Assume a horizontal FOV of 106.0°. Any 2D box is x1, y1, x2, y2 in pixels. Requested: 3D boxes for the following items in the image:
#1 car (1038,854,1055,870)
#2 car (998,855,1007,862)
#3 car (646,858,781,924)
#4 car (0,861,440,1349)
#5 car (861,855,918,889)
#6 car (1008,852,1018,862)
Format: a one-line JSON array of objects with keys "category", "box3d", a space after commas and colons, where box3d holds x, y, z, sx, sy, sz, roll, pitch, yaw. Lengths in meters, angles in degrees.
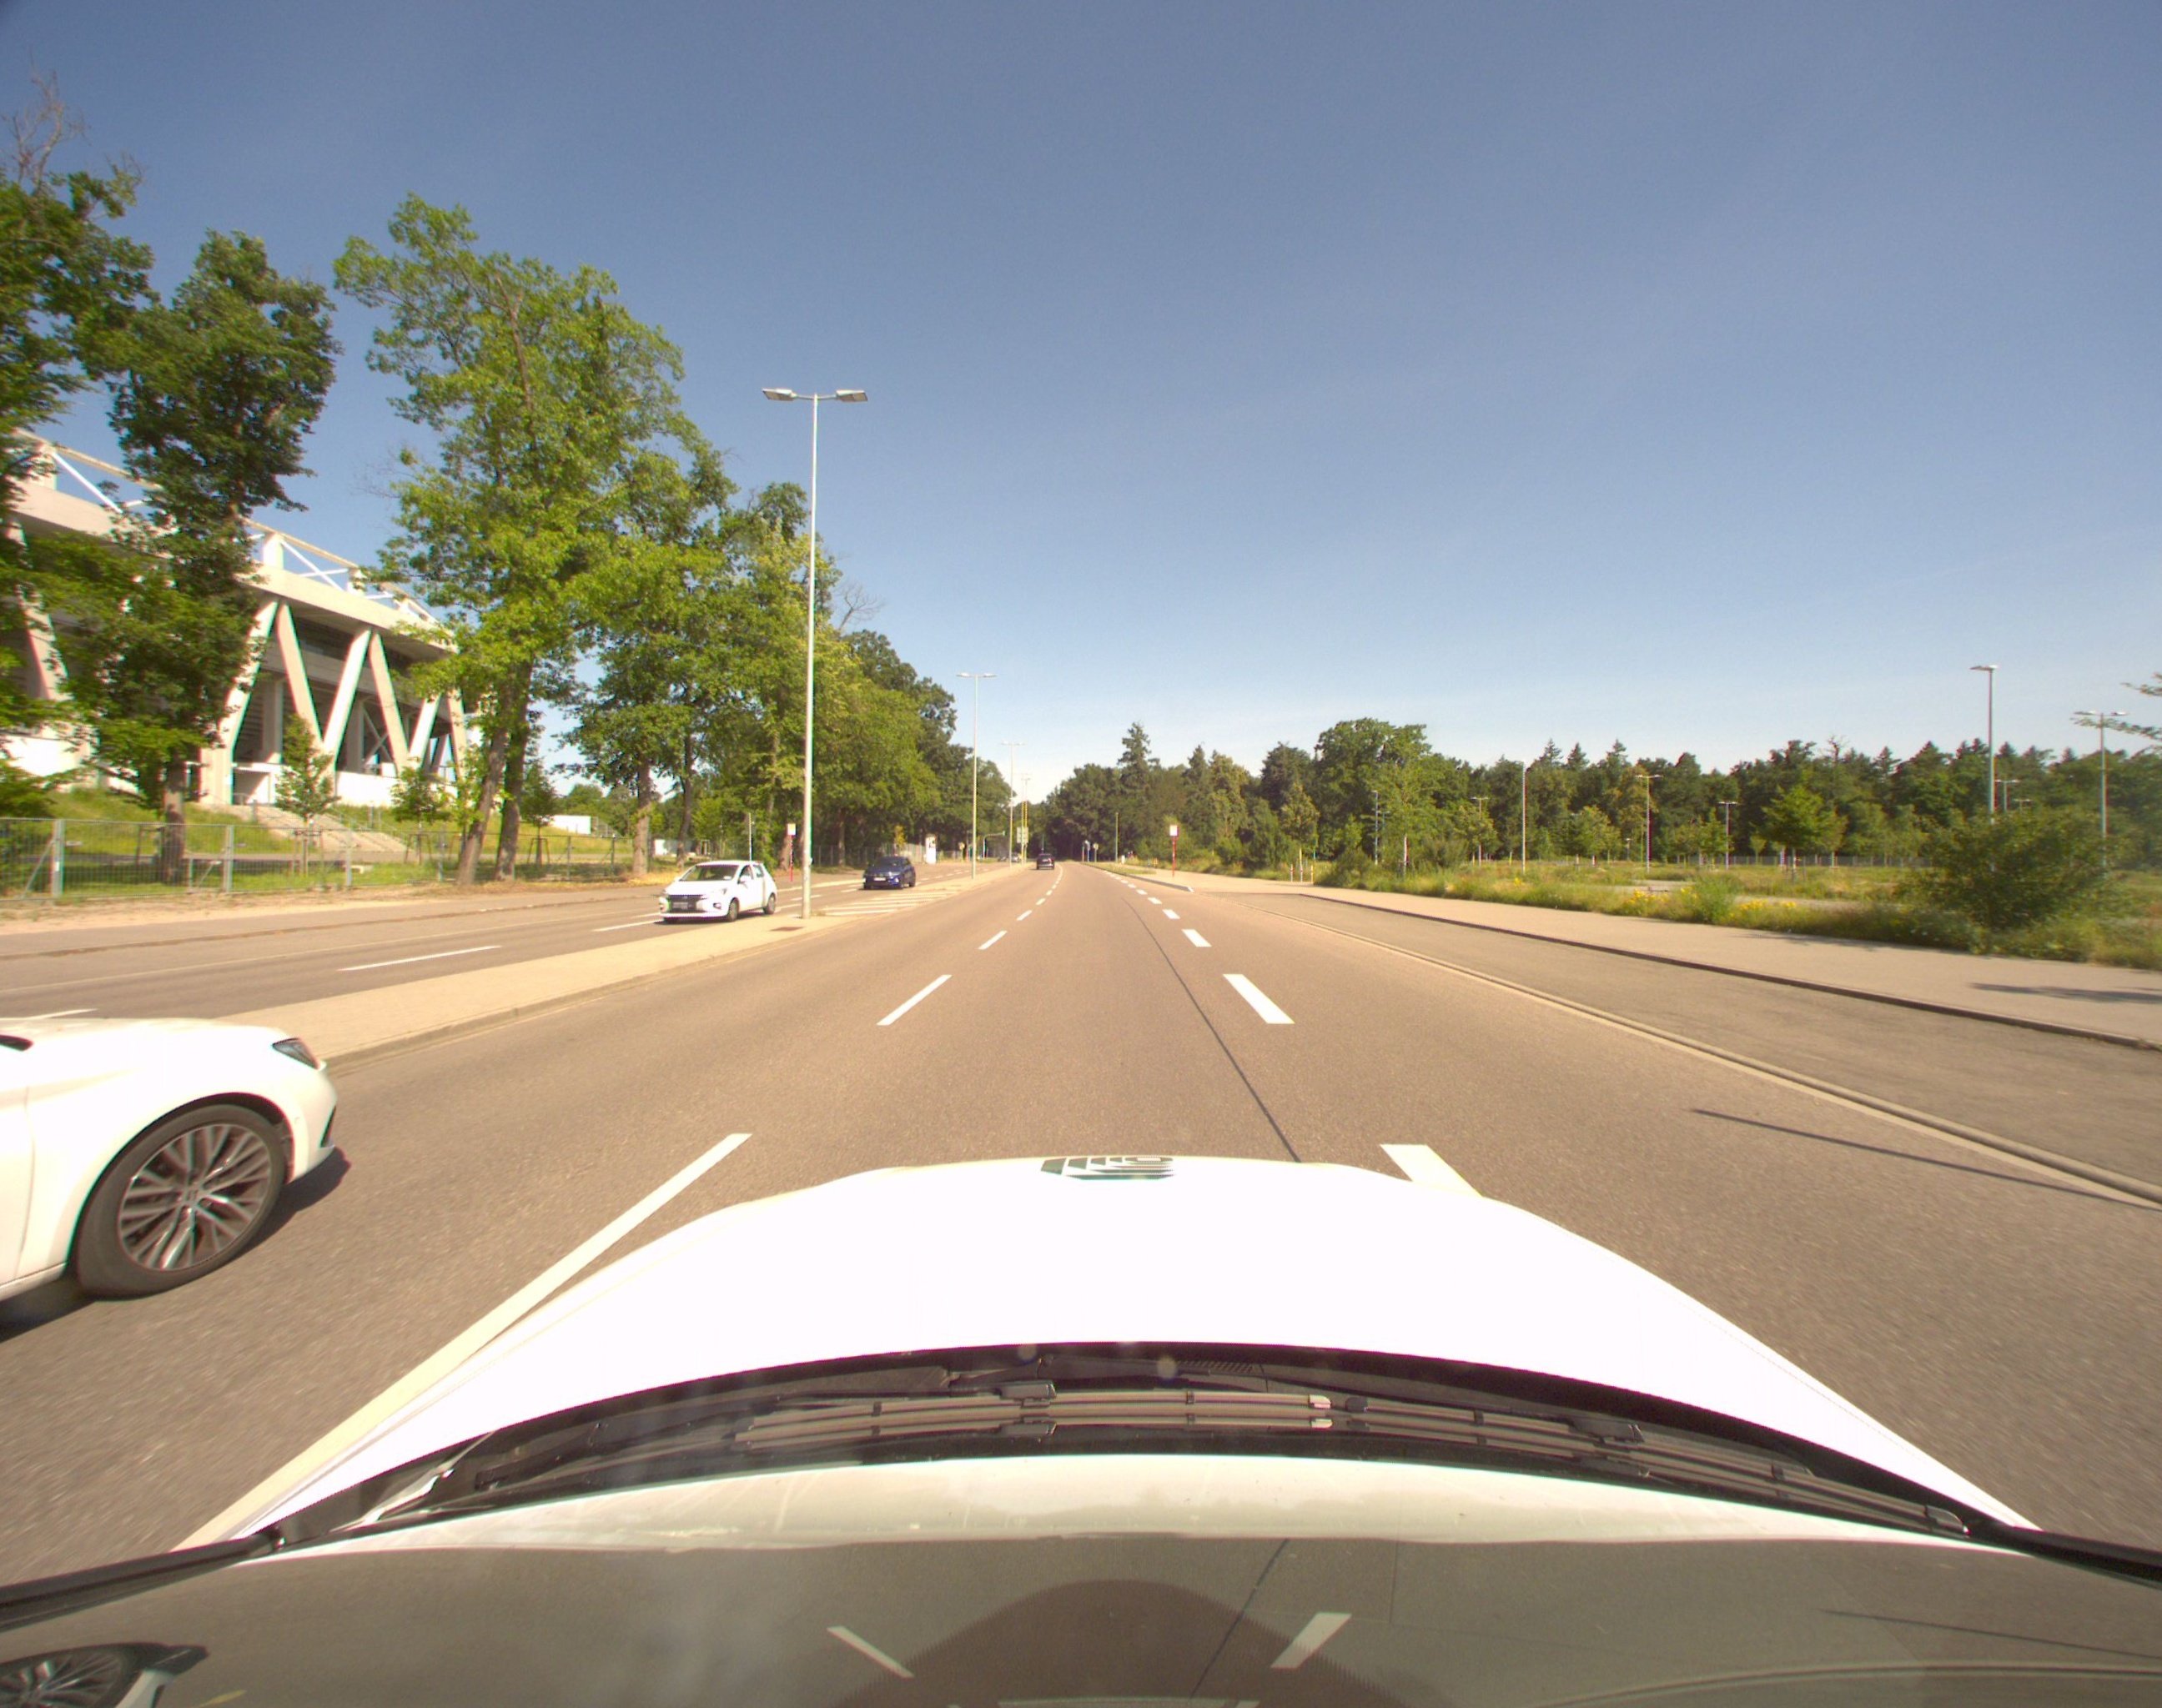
[{"category": "car", "box3d": [-3.516, 0.742, 82.572, 1.684, 1.544, 4.144, -1, 0, -3]}, {"category": "car", "box3d": [-16.984, 0.932, 177.022, 1.790, 1.478, 3.995, 1, 0, -4]}, {"category": "car", "box3d": [-9.179, 0.858, 20.696, 1.617, 1.466, 3.801, -2, 0, 1]}, {"category": "car", "box3d": [-4.110, 0.773, 1.652, 1.718, 1.427, 4.723, -1, 0, 2]}, {"category": "car", "box3d": [-9.003, 0.808, 38.574, 1.748, 1.486, 3.946, -2, 0, -1]}, {"category": "car", "box3d": [-12.926, 0.588, 155.130, 1.837, 1.932, 4.624, -1, 0, -3]}]
